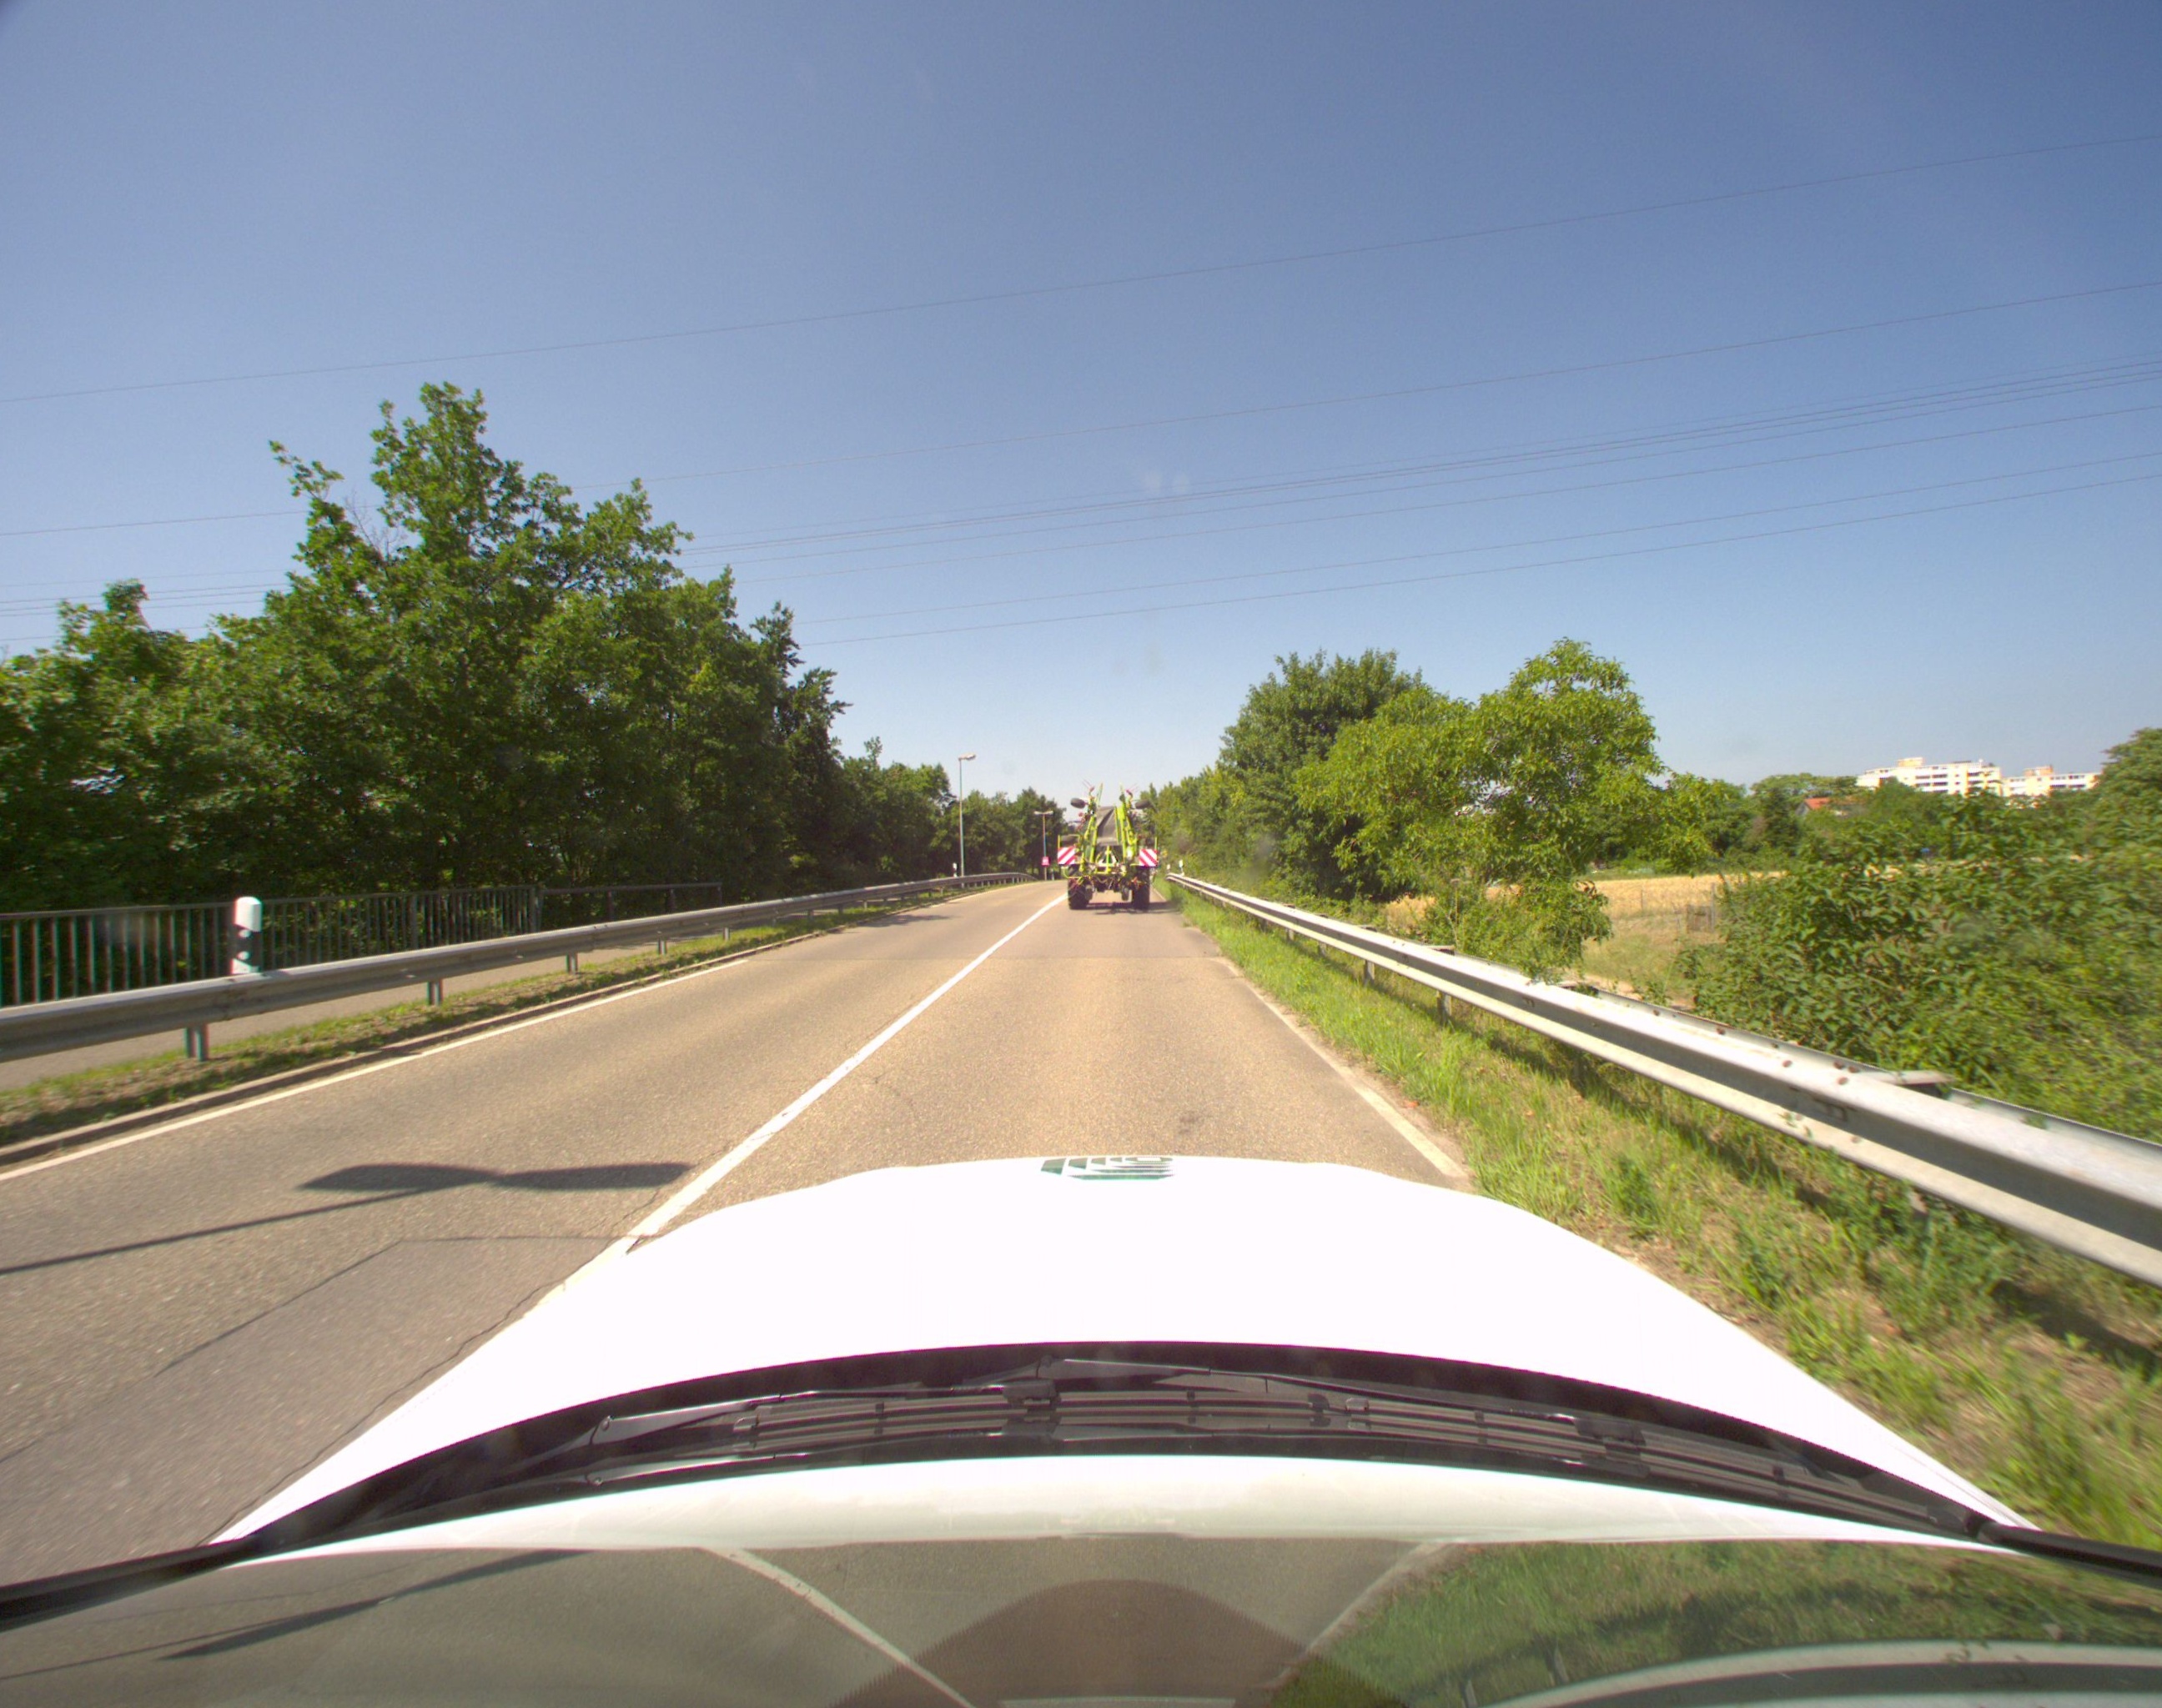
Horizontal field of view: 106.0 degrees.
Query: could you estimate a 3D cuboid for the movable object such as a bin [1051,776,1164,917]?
[{"bbox_3d":[0.808,-0.199,23.047,2.744,3.444,5.675,-1,0,3],"label":"movable object such as a bin"}]
